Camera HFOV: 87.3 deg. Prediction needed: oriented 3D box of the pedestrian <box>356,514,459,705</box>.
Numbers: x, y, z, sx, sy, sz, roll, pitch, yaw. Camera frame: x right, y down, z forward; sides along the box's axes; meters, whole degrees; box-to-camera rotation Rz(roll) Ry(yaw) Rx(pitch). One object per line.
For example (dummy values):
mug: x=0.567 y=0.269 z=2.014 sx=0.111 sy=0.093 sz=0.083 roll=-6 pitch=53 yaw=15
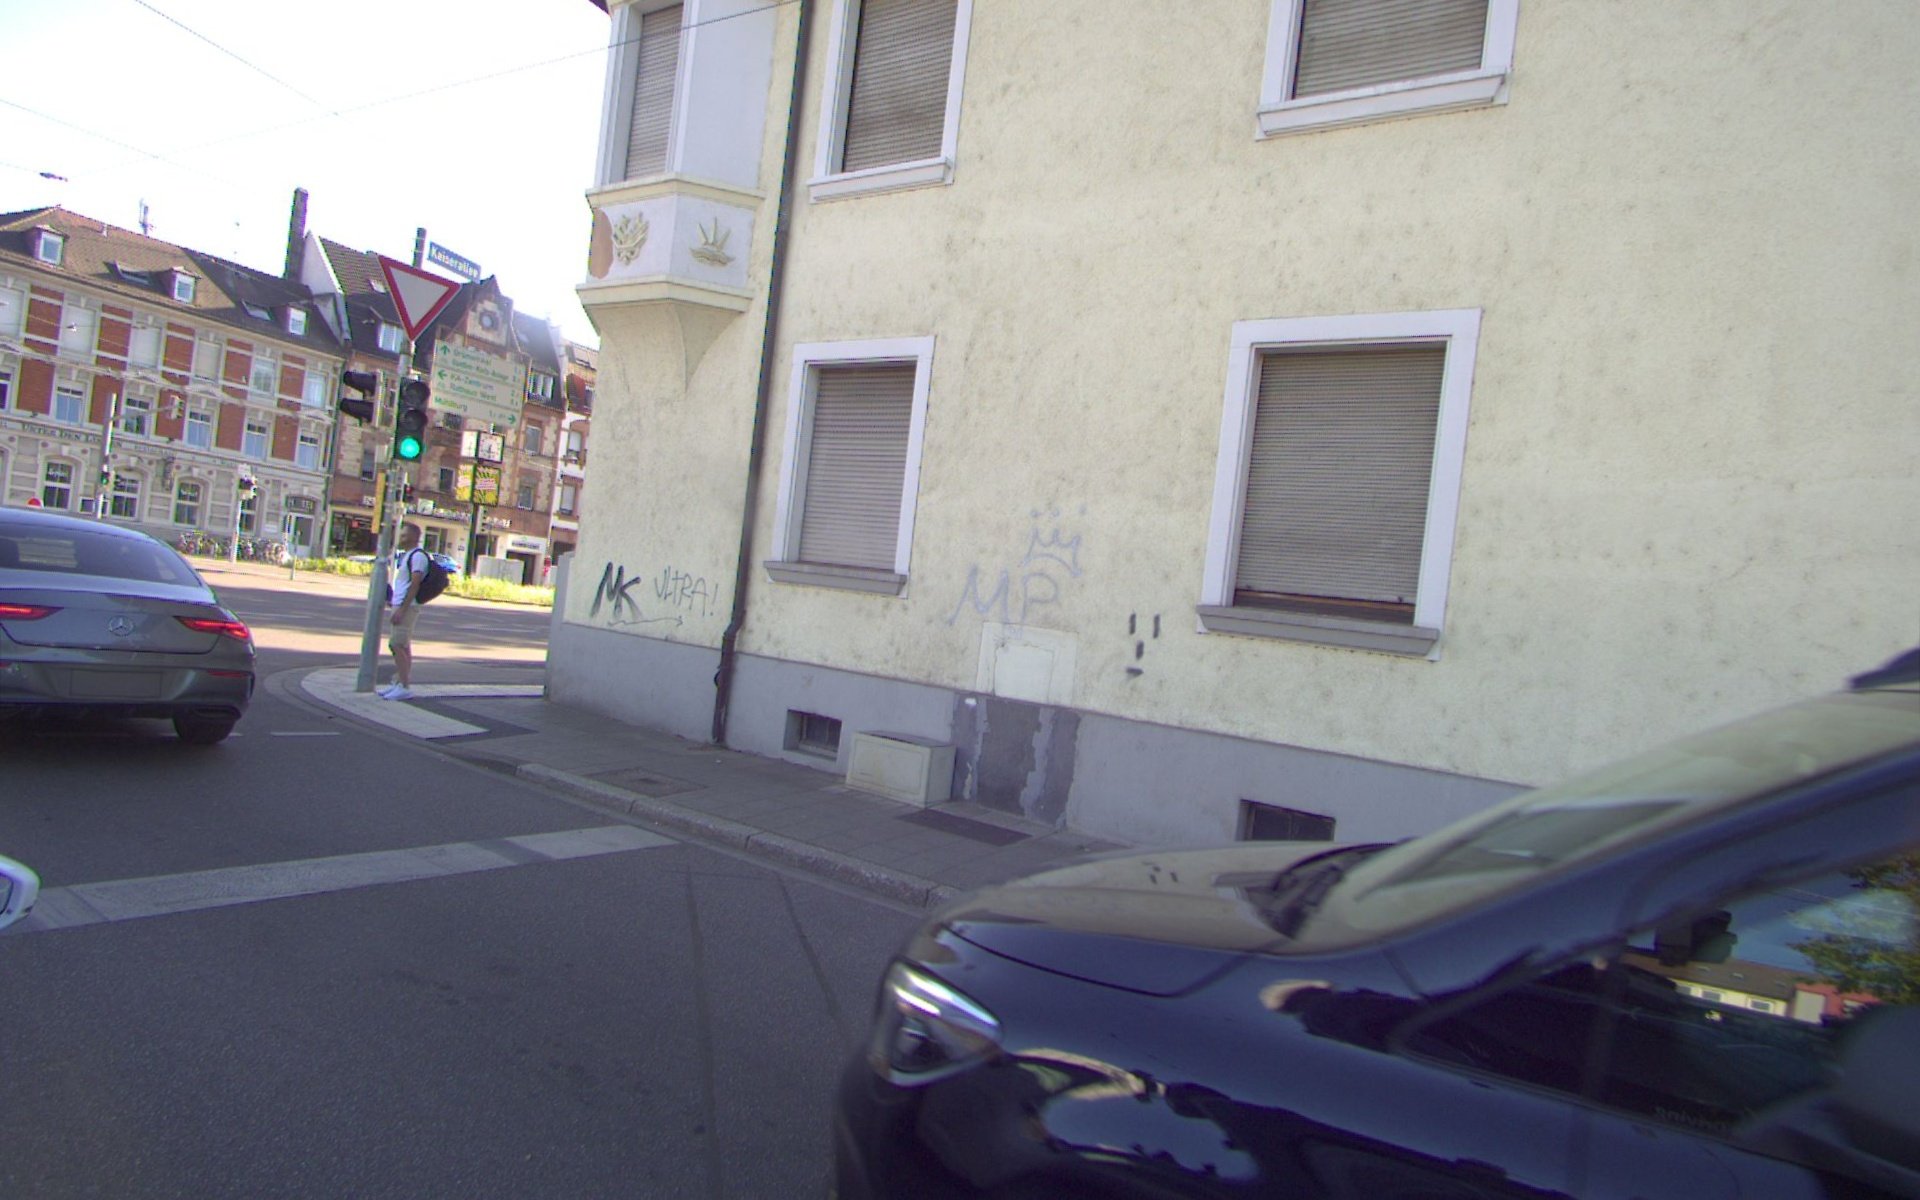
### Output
pedestrian: x=-5.394 y=0.087 z=9.843 sx=0.631 sy=1.780 sz=0.584 roll=4 pitch=3 yaw=-7

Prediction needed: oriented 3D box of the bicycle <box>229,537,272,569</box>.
bicycle: x=-33.407 y=-2.220 z=47.364 sx=2.618 sy=1.301 sz=0.629 roll=6 pitch=-1 yaw=33

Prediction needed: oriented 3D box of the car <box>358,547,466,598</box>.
car: x=-25.477 y=-1.262 z=46.904 sx=1.967 sy=1.798 sz=3.790 roll=6 pitch=-2 yaw=31

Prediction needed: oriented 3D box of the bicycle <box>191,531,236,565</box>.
bicycle: x=-34.191 y=-2.373 z=46.067 sx=2.618 sy=1.301 sz=0.693 roll=6 pitch=-1 yaw=33

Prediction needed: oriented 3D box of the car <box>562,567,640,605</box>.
car: x=-23.235 y=-0.877 z=65.286 sx=1.967 sy=1.798 sz=4.374 roll=6 pitch=-2 yaw=31

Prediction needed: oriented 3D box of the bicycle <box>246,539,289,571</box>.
bicycle: x=-33.041 y=-2.149 z=47.993 sx=2.618 sy=1.301 sz=0.629 roll=6 pitch=-1 yaw=33

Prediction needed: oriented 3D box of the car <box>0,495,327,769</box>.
car: x=-6.580 y=0.039 z=6.983 sx=4.419 sy=1.436 sz=1.910 roll=6 pitch=-2 yaw=33

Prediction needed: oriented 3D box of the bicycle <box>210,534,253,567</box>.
bicycle: x=-33.823 y=-2.312 z=46.692 sx=2.618 sy=1.301 sz=0.629 roll=6 pitch=-1 yaw=33

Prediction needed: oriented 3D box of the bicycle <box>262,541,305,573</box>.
bicycle: x=-32.671 y=-2.077 z=48.583 sx=2.618 sy=1.301 sz=0.629 roll=6 pitch=-1 yaw=33

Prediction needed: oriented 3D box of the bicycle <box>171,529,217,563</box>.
bicycle: x=-34.590 y=-2.459 z=45.399 sx=2.618 sy=1.301 sz=0.693 roll=6 pitch=-1 yaw=33

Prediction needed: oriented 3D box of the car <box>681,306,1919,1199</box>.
car: x=2.027 y=0.771 z=1.398 sx=4.700 sy=1.825 sz=1.865 roll=6 pitch=-2 yaw=32
